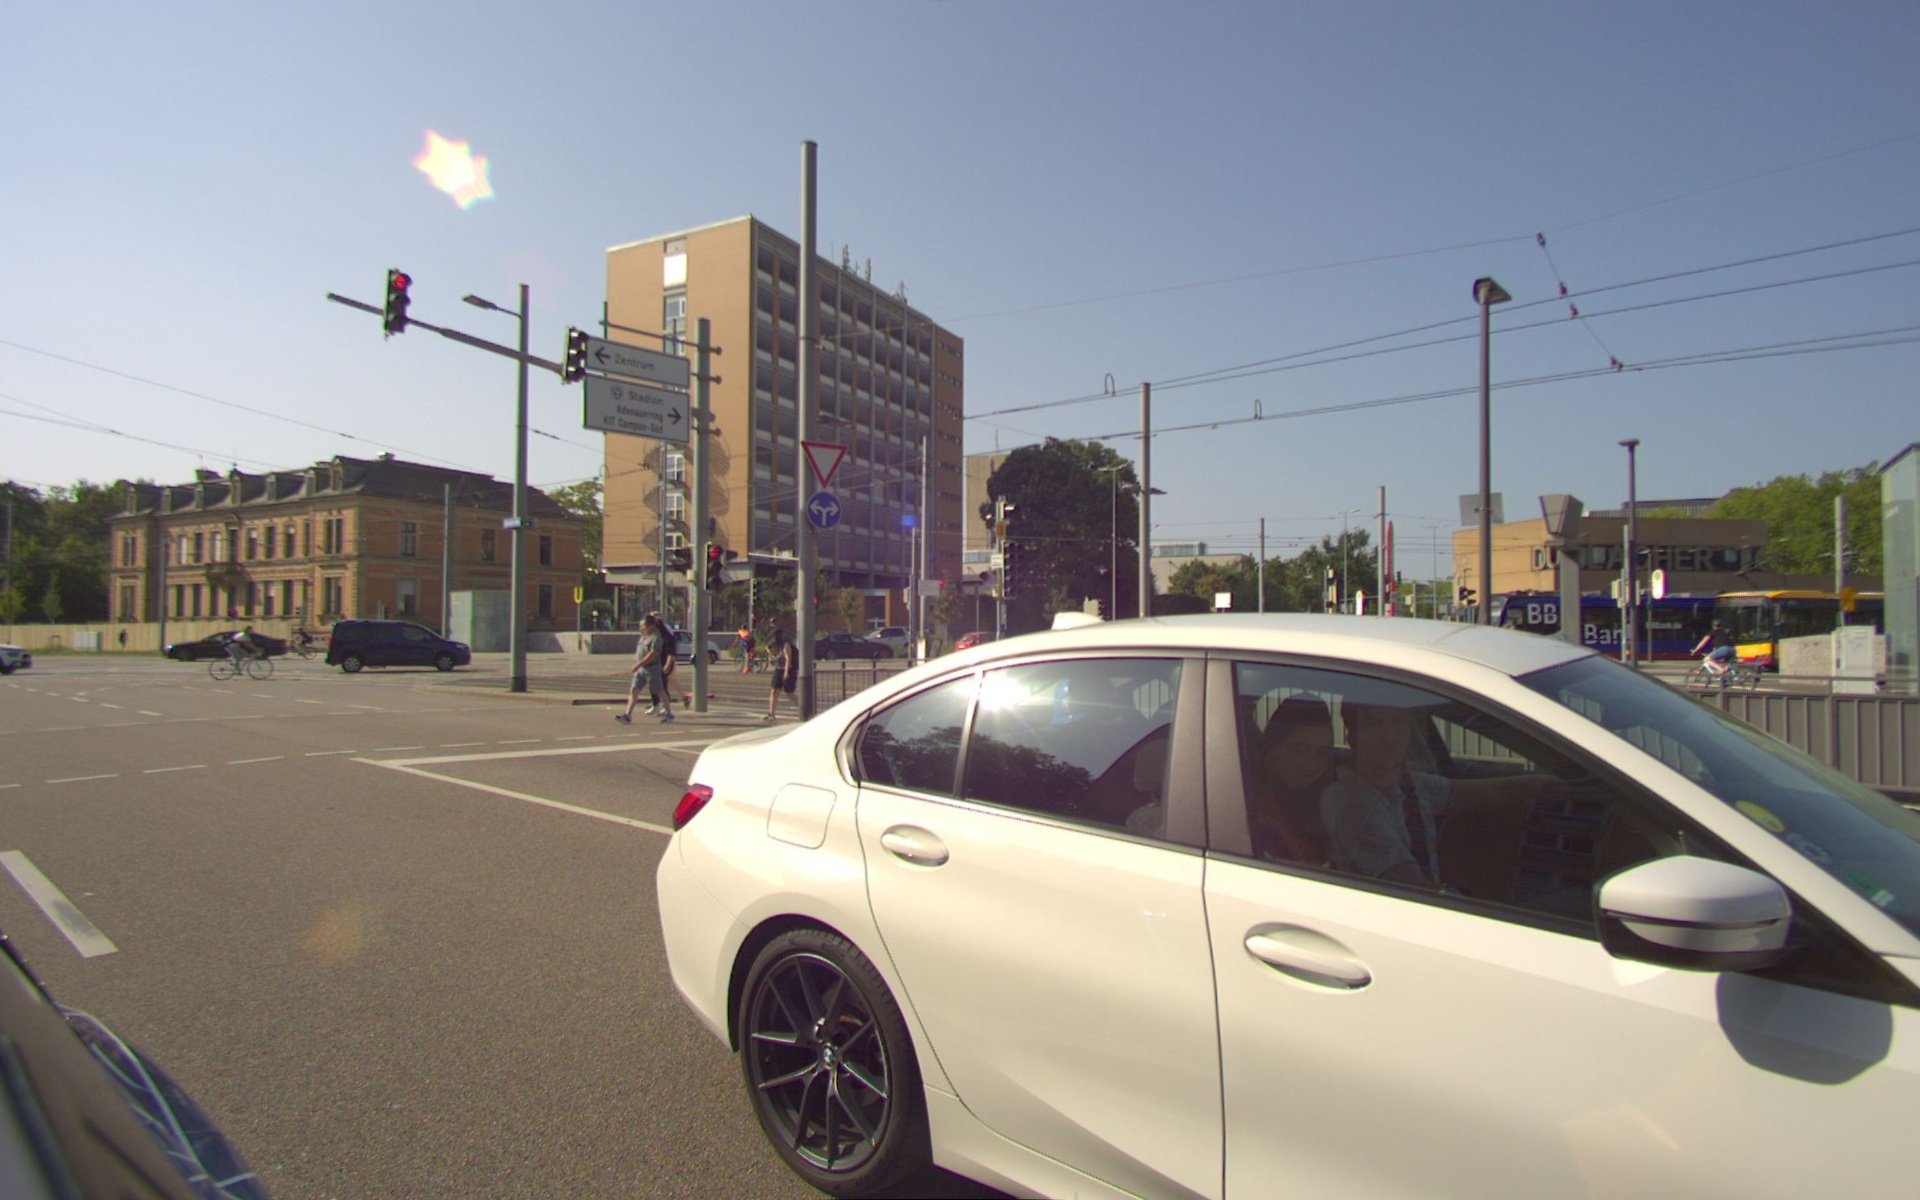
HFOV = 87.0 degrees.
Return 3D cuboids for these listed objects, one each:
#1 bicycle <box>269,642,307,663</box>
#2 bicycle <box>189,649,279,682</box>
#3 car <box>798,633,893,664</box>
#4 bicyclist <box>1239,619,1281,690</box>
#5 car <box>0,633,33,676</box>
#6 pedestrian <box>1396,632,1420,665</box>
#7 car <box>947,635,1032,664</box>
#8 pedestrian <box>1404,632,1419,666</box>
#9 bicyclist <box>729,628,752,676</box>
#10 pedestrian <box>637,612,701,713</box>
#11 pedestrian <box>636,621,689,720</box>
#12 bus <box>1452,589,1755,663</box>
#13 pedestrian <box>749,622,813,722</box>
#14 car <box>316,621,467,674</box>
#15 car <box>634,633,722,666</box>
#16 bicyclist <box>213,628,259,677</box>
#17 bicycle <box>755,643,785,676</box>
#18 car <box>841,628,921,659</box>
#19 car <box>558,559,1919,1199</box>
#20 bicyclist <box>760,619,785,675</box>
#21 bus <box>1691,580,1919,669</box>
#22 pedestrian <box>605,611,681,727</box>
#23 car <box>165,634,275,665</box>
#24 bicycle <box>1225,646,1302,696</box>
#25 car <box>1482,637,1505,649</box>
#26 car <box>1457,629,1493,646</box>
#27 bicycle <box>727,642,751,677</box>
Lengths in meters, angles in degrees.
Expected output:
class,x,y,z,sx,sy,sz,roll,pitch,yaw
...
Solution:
class,x,y,z,sx,sy,sz,roll,pitch,yaw
bicycle,-38.455,2.980,57.918,1.742,1.203,0.402,1,-2,-16
bicycle,-22.302,2.019,31.139,2.159,0.997,0.531,2,-2,-25
car,-5.637,2.347,49.775,4.276,1.463,1.808,1,-3,-31
bicyclist,7.194,1.305,24.244,0.790,1.669,0.581,-2,-3,41
car,-34.057,1.836,33.953,3.930,1.426,1.809,1,-2,-23
pedestrian,17.788,1.929,40.198,0.549,1.302,0.769,0,-2,-6
car,1.472,2.438,50.338,3.932,1.426,1.808,1,-3,-33
pedestrian,24.030,2.618,53.876,0.551,1.782,0.403,0,-2,-3
bicyclist,-7.668,1.818,35.322,0.503,1.642,0.809,1,-3,-35
pedestrian,-5.390,1.160,18.739,0.822,1.802,0.730,5,-5,-42
pedestrian,-4.956,1.168,16.862,0.467,1.610,0.626,-1,-5,39
bus,31.162,1.285,49.234,13.111,3.445,3.229,0,-2,-6
pedestrian,-2.899,1.165,16.382,0.548,1.560,0.799,-2,-5,42
car,-20.673,1.720,37.045,4.690,1.842,1.809,1,-3,-26
car,-12.609,2.188,45.214,3.495,1.446,1.809,1,-3,-27
bicyclist,-22.276,1.607,31.166,0.955,1.486,1.091,1,-2,-26
bicycle,-6.859,2.128,36.468,0.371,1.174,1.864,1,-3,-34
car,-4.642,2.565,59.583,4.217,1.720,1.957,2,-5,-34
car,1.182,0.679,2.334,4.768,1.438,1.791,-2,-1,39
bicyclist,-6.726,1.682,36.309,0.571,1.989,0.809,1,-3,-35
bus,35.377,0.972,38.799,13.107,3.203,3.230,0,-2,-7
pedestrian,-4.828,1.049,15.421,0.651,1.706,0.805,-2,-5,41
car,-36.928,2.489,50.615,4.251,1.477,1.679,1,-4,-30
bicycle,7.243,1.679,24.179,1.745,1.118,0.397,-2,-3,40
car,64.443,5.154,122.249,3.471,1.462,1.495,2,-3,-44
car,47.559,3.498,93.485,3.940,1.519,1.784,2,-3,-44
bicycle,-7.732,2.079,35.409,0.306,1.174,1.503,1,-3,-34
